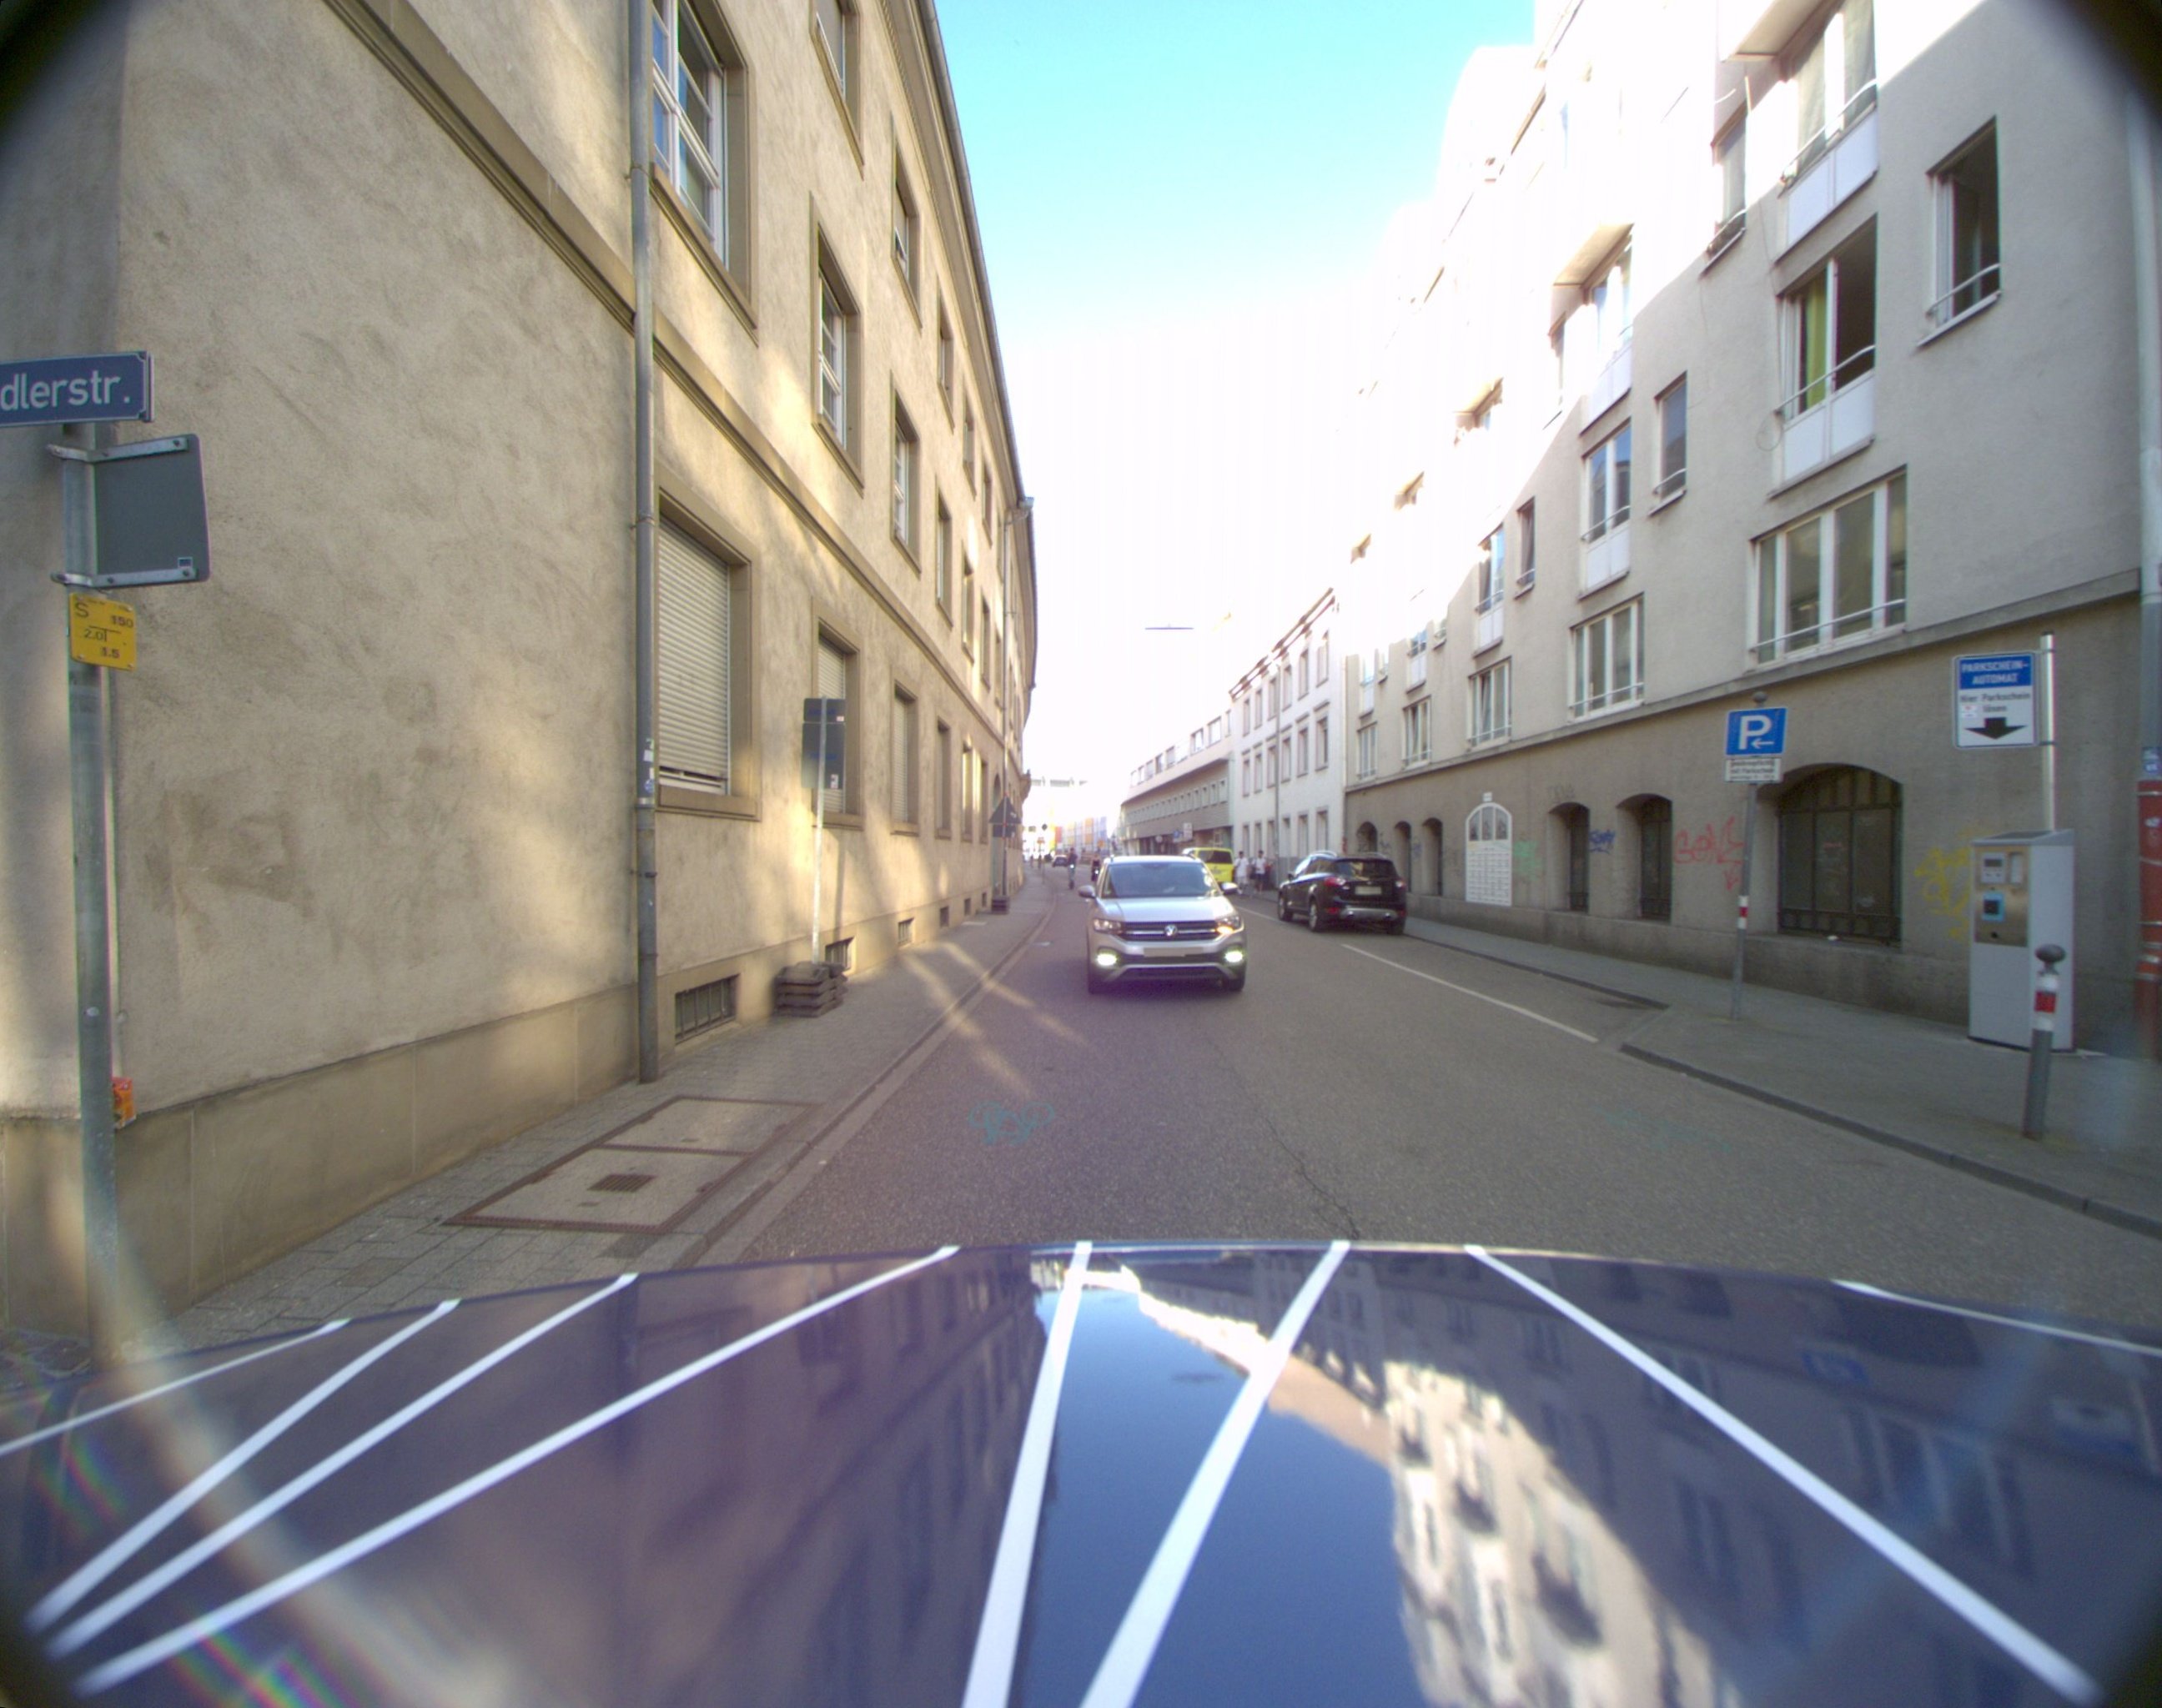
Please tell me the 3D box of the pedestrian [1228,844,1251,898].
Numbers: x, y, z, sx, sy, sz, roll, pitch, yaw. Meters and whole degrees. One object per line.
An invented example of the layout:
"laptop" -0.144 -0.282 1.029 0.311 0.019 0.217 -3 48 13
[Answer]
"pedestrian" 5.950 0.646 28.534 0.715 2.002 0.699 0 1 0

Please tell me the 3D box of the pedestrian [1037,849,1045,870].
"pedestrian" -3.882 0.534 73.115 0.715 2.002 0.699 0 1 0

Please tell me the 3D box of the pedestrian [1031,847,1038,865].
"pedestrian" -5.223 0.233 85.115 0.715 2.002 0.699 0 1 0

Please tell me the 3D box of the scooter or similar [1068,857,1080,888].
"scooter or similar" -0.330 0.827 35.196 0.523 1.388 1.555 0 0 1

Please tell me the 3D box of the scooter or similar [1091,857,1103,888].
"scooter or similar" 0.730 0.833 34.870 0.550 1.388 1.555 0 0 1

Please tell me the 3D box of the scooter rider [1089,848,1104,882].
"scooter rider" 0.705 0.491 34.874 0.591 1.499 0.600 -2 1 1

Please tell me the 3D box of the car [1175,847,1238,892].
"car" 5.422 0.627 33.289 1.888 1.863 3.999 1 0 -3

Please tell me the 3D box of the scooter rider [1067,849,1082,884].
"scooter rider" -0.287 0.555 35.166 0.647 1.584 0.600 -2 1 0

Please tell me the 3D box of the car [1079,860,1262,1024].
"car" 0.888 0.894 9.572 1.763 1.537 3.999 -2 0 -1

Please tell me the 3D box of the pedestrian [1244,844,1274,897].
"pedestrian" 6.793 0.616 29.024 0.937 2.002 0.699 0 1 0

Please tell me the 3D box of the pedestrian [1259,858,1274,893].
"pedestrian" 7.664 0.880 31.449 0.556 1.439 0.583 0 1 11

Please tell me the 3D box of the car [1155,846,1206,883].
"car" 5.096 0.496 39.287 1.889 1.758 3.999 2 0 -3

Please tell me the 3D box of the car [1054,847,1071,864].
"car" -2.280 0.164 92.618 1.889 1.863 3.998 2 0 -4

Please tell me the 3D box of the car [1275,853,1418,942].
"car" 5.679 0.844 16.830 1.888 1.694 4.000 1 0 2
